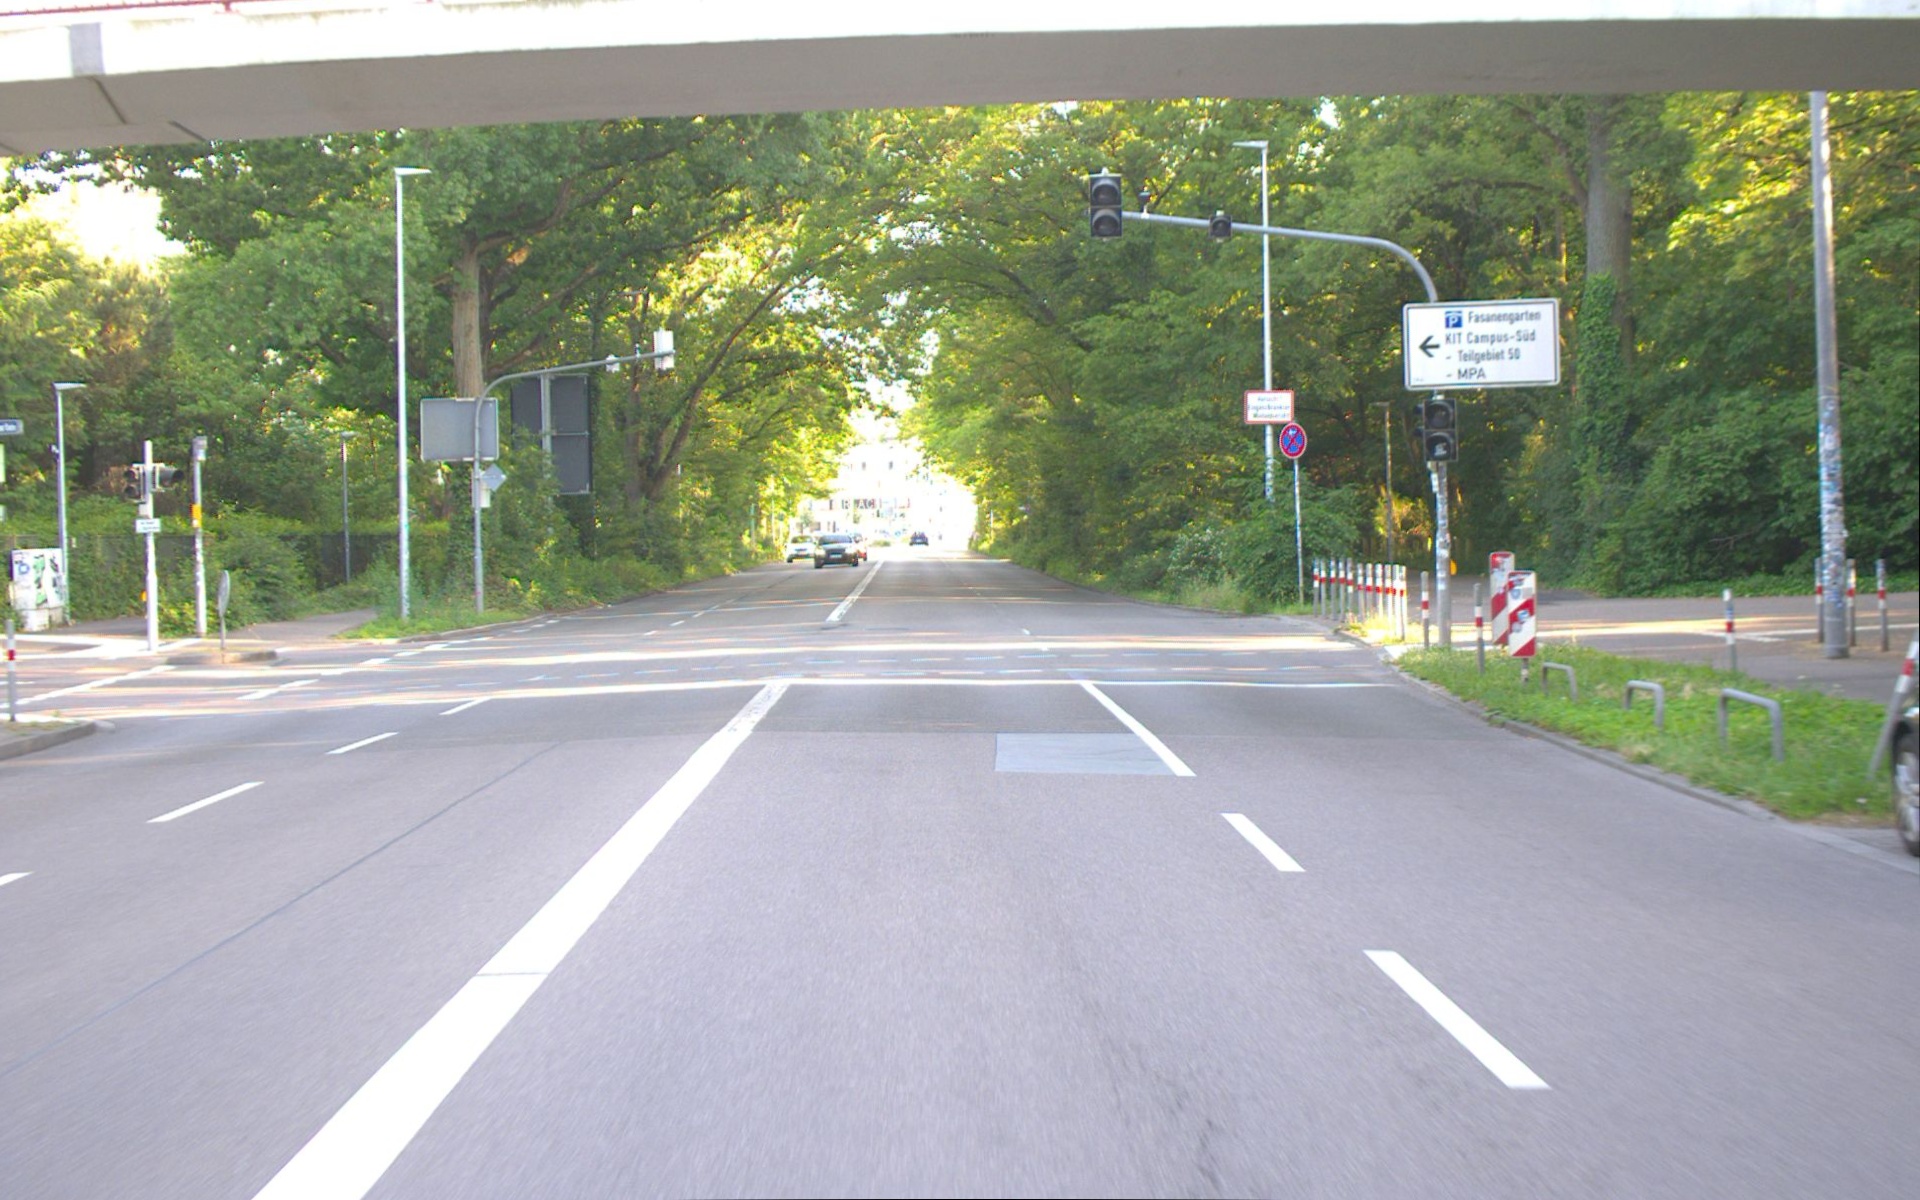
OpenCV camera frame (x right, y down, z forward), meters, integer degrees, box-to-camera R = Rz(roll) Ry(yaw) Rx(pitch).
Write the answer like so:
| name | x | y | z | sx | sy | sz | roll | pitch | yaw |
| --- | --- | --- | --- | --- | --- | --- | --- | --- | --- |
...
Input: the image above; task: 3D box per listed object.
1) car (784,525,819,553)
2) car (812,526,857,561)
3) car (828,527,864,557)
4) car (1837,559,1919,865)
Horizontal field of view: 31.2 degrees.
| name | x | y | z | sx | sy | sz | roll | pitch | yaw |
| --- | --- | --- | --- | --- | --- | --- | --- | --- | --- |
| car | -8.809 | -3.396 | 191.441 | 1.797 | 1.501 | 4.365 | -2 | 1 | -2 |
| car | -5.550 | -2.504 | 152.485 | 1.887 | 1.501 | 4.365 | -2 | 1 | -2 |
| car | -5.881 | -2.977 | 177.173 | 1.797 | 1.501 | 4.365 | -2 | 1 | -2 |
| car | 5.472 | 0.535 | 15.689 | 1.774 | 1.449 | 4.388 | -2 | 1 | 0 |
